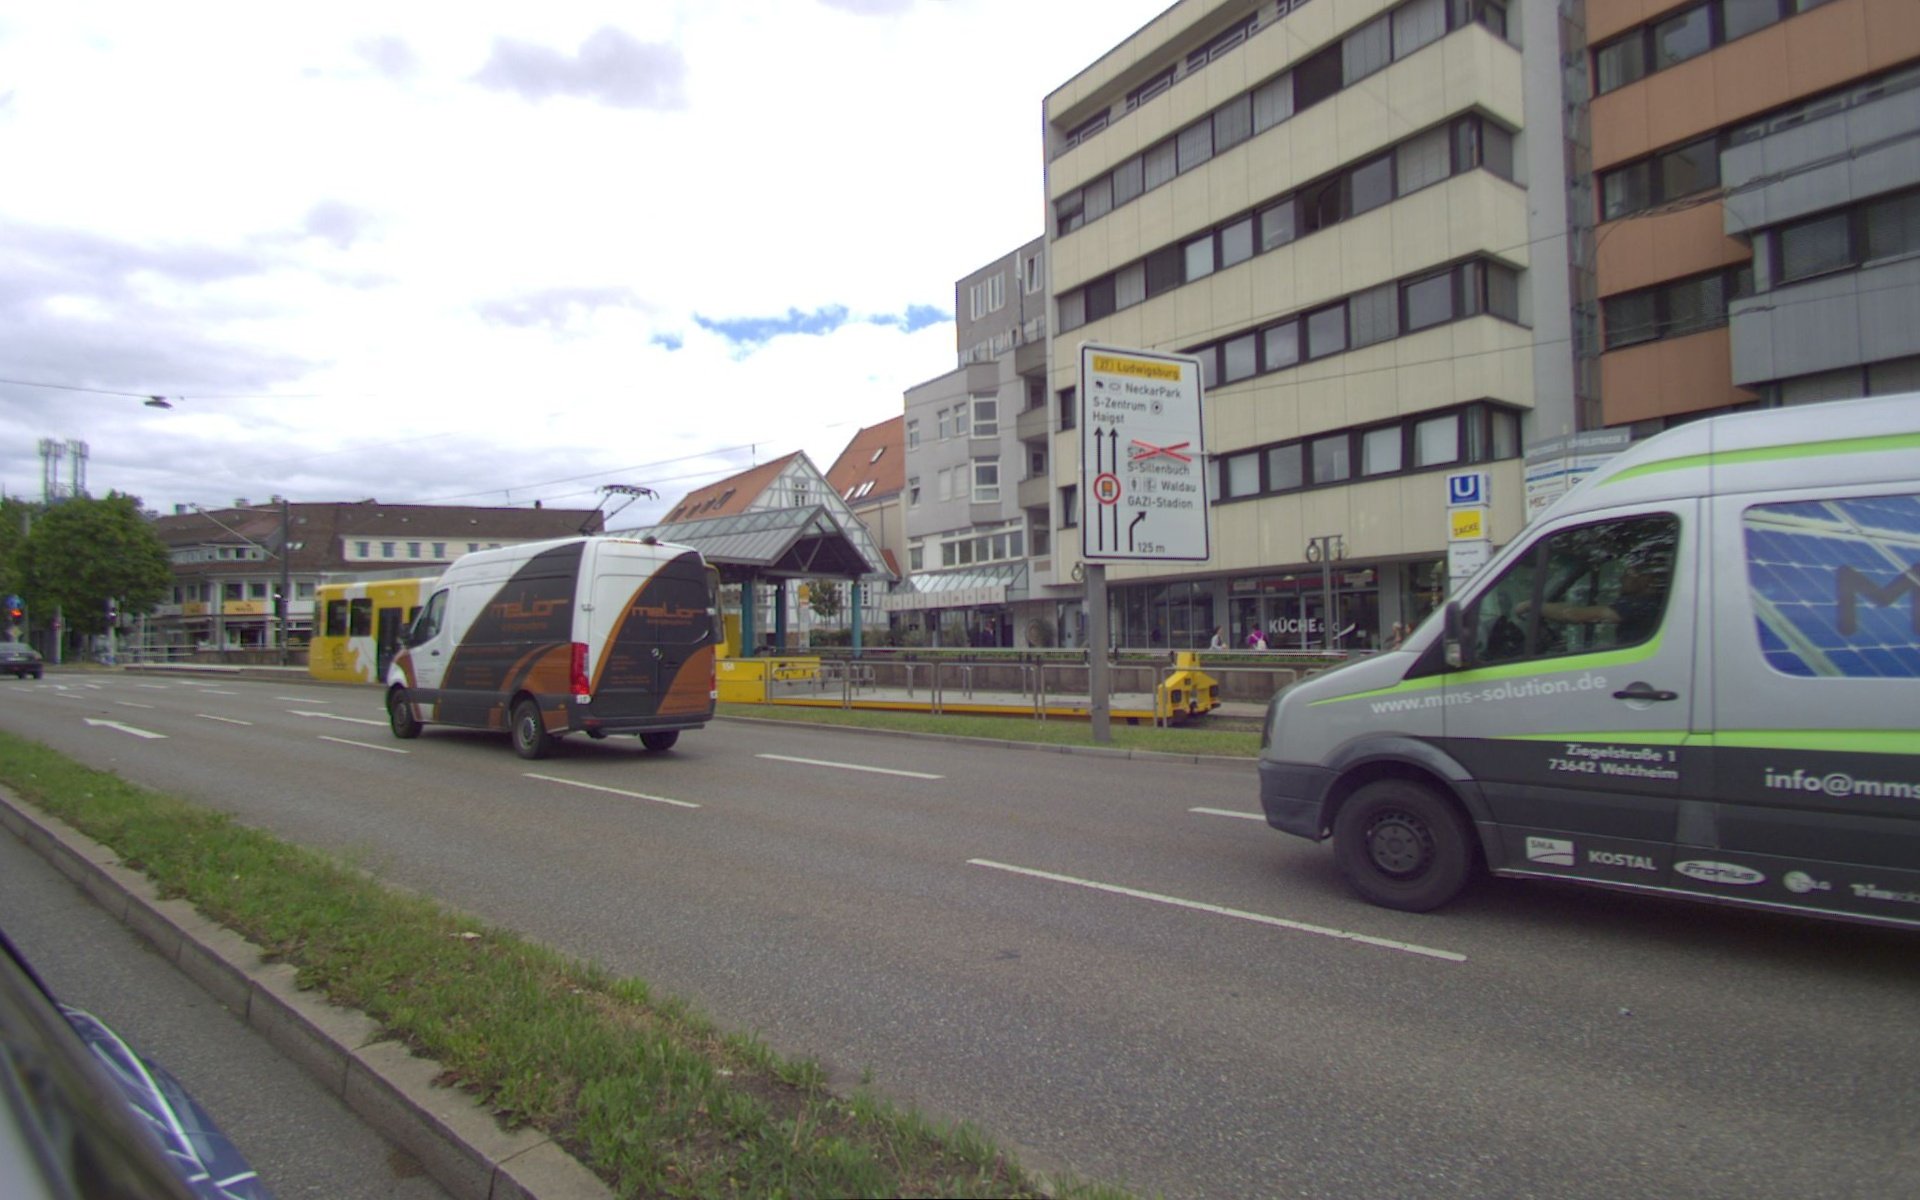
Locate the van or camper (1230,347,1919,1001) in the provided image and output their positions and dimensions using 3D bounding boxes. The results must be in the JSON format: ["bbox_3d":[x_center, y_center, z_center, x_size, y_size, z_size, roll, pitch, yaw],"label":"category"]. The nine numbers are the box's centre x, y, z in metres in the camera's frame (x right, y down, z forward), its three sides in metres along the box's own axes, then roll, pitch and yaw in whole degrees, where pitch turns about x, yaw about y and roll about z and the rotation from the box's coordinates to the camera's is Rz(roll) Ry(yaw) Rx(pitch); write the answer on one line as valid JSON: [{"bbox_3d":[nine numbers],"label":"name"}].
[{"bbox_3d":[4.561,0.333,4.775,6.112,2.618,2.011,-2,-4,41],"label":"van or camper"}]

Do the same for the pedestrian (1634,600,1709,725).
[{"bbox_3d":[11.194,0.967,15.924,0.873,1.892,0.737,-2,-3,39],"label":"pedestrian"}]

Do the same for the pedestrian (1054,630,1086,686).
[{"bbox_3d":[3.406,1.795,31.367,0.610,1.713,0.743,2,-3,-39],"label":"pedestrian"}]

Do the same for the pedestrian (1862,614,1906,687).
[{"bbox_3d":[22.533,1.225,24.694,0.706,1.729,0.696,-2,0,39],"label":"pedestrian"}]

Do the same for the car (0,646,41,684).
[{"bbox_3d":[-35.506,2.377,37.505,3.944,1.356,1.491,-2,-5,39],"label":"car"}]

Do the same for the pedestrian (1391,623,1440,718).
[{"bbox_3d":[7.832,1.201,17.384,0.619,1.585,0.593,-2,-3,37],"label":"pedestrian"}]

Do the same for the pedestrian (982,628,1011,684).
[{"bbox_3d":[1.135,1.716,31.336,0.628,1.713,0.684,-2,-3,38],"label":"pedestrian"}]

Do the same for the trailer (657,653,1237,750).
[{"bbox_3d":[-0.948,1.754,19.779,12.101,1.343,2.815,-2,-3,36],"label":"trailer"}]

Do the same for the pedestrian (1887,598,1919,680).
[{"bbox_3d":[20.161,0.814,21.477,0.634,1.711,0.697,-2,-1,39],"label":"pedestrian"}]

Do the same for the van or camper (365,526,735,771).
[{"bbox_3d":[-5.711,0.638,13.580,6.112,2.618,1.973,-2,-4,41],"label":"van or camper"}]

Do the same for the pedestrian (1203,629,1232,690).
[{"bbox_3d":[7.374,1.682,28.938,0.628,1.713,0.544,-2,-3,38],"label":"pedestrian"}]

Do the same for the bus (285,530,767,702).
[{"bbox_3d":[-13.876,0.655,30.096,19.301,3.889,3.842,-2,-3,36],"label":"bus"}]

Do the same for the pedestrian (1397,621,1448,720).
[{"bbox_3d":[7.628,1.151,16.700,0.619,1.585,0.593,-2,-3,37],"label":"pedestrian"}]
